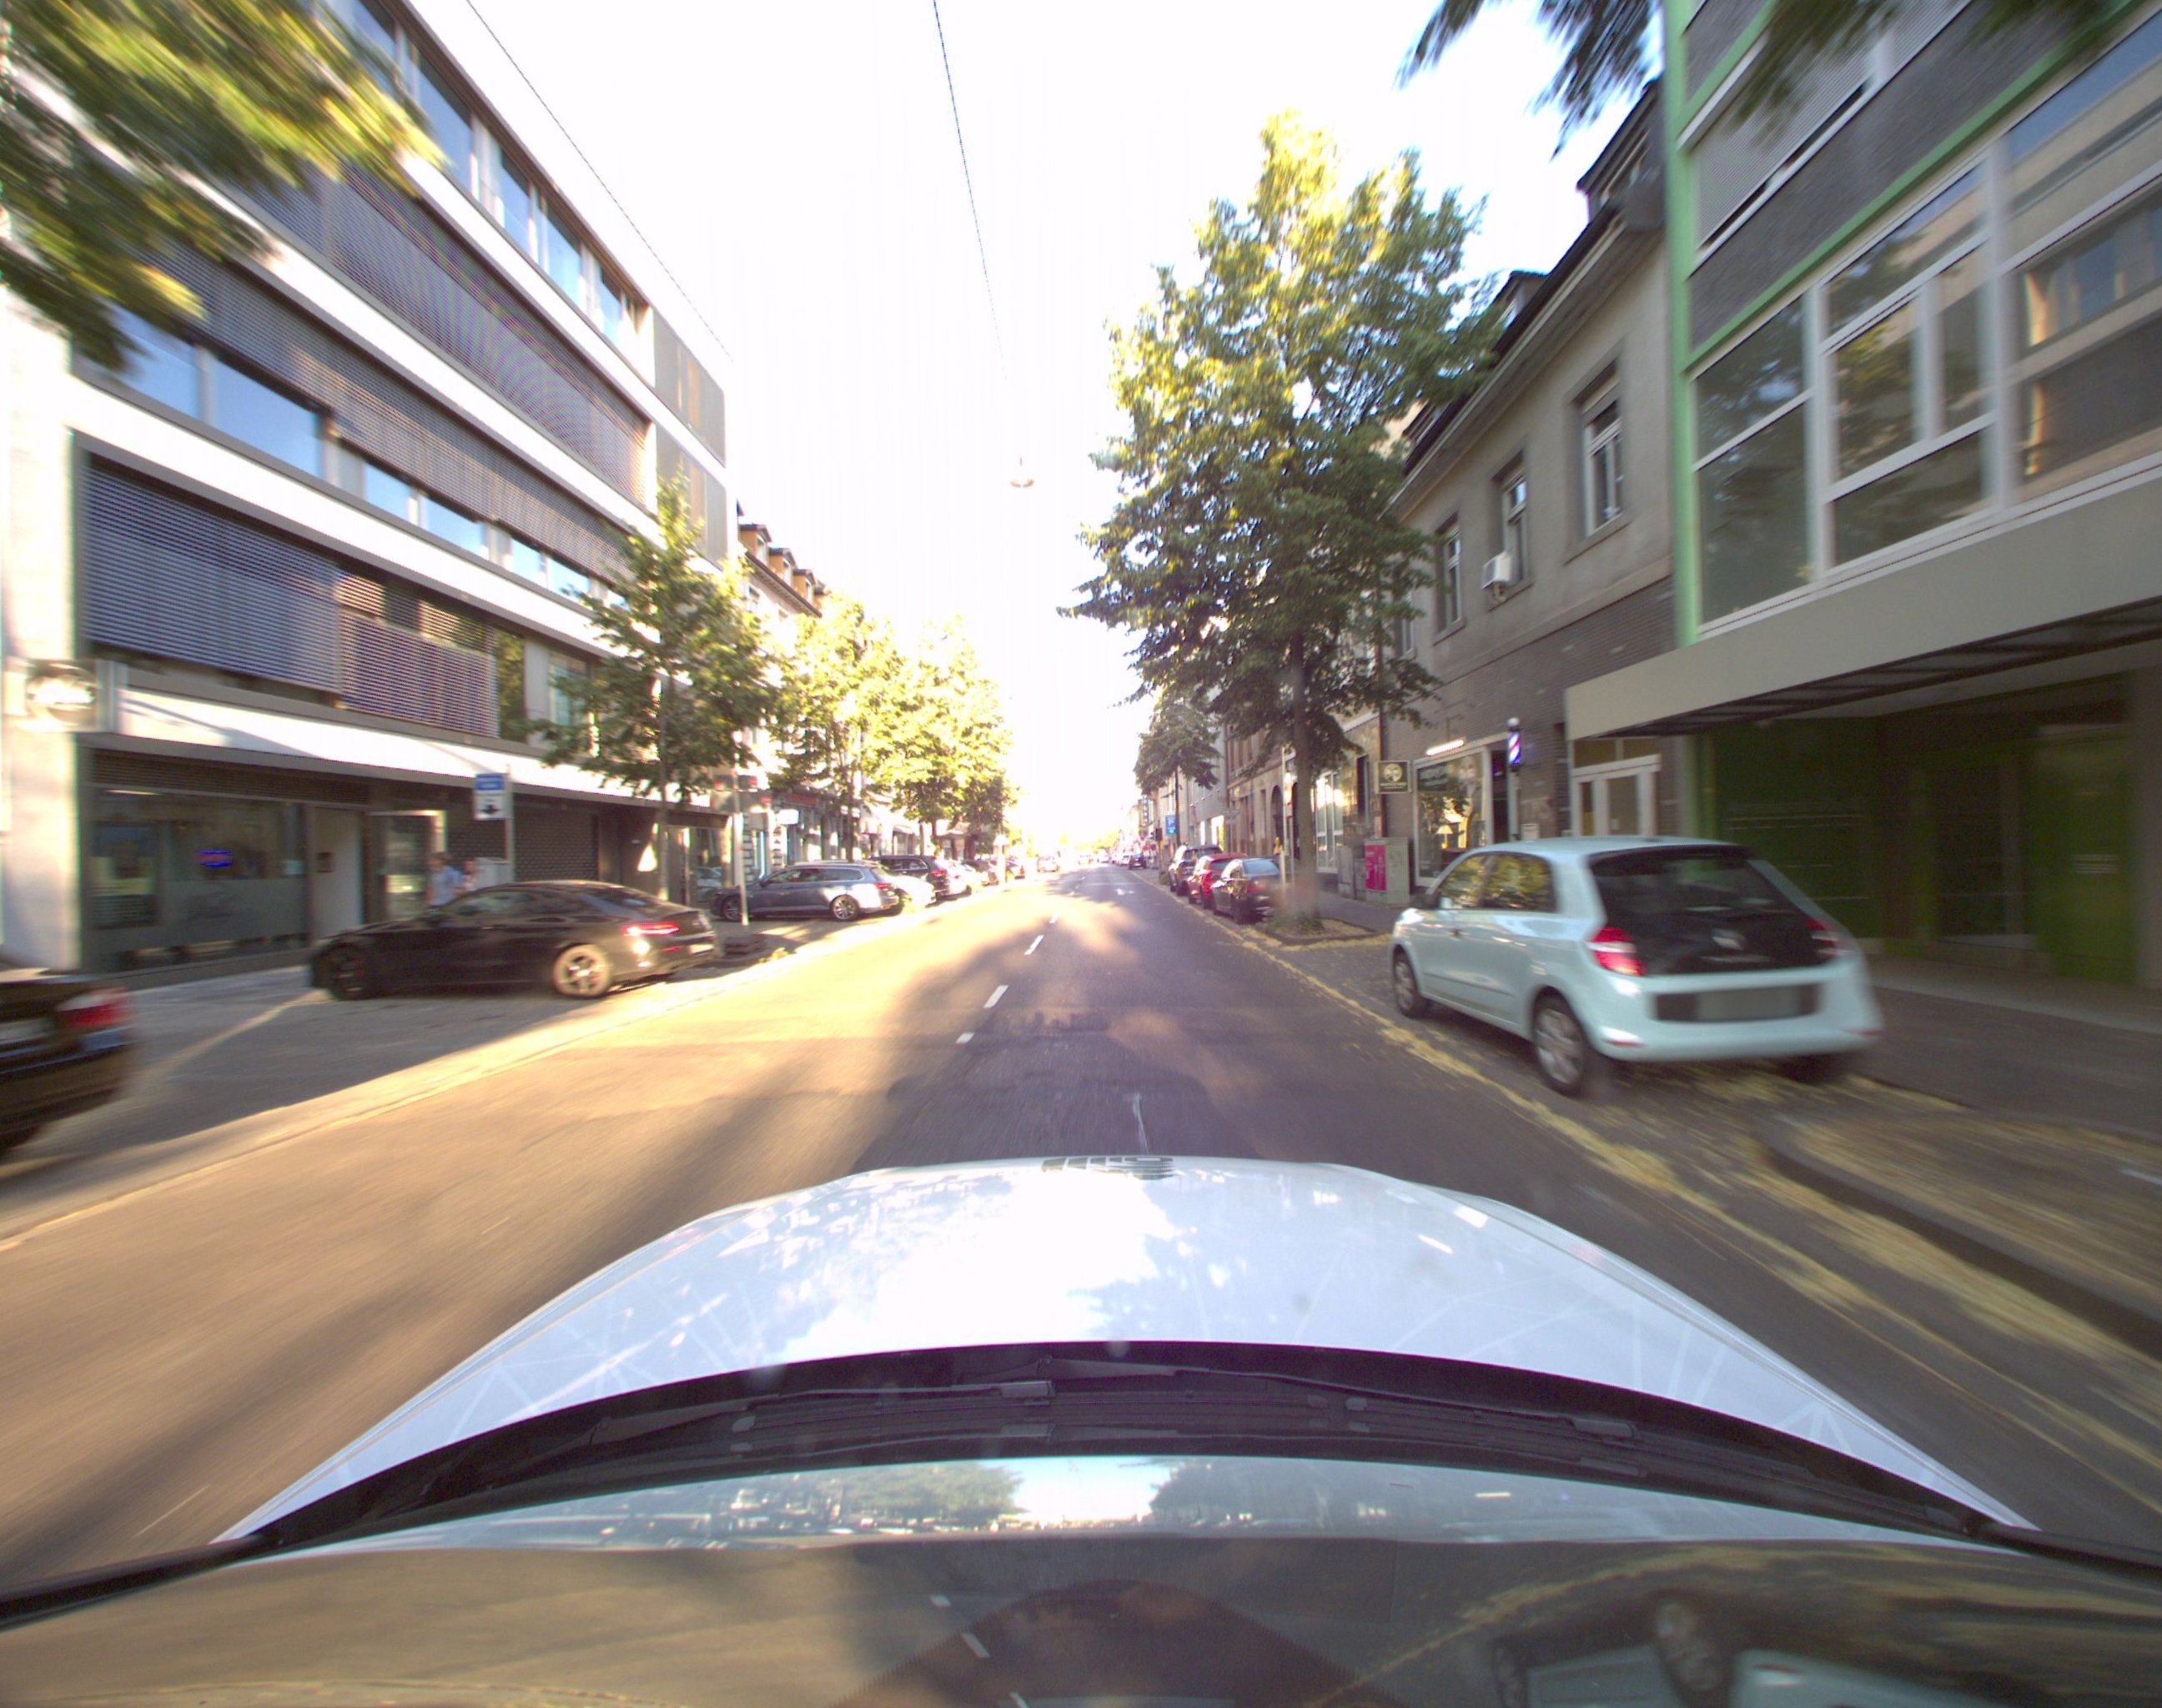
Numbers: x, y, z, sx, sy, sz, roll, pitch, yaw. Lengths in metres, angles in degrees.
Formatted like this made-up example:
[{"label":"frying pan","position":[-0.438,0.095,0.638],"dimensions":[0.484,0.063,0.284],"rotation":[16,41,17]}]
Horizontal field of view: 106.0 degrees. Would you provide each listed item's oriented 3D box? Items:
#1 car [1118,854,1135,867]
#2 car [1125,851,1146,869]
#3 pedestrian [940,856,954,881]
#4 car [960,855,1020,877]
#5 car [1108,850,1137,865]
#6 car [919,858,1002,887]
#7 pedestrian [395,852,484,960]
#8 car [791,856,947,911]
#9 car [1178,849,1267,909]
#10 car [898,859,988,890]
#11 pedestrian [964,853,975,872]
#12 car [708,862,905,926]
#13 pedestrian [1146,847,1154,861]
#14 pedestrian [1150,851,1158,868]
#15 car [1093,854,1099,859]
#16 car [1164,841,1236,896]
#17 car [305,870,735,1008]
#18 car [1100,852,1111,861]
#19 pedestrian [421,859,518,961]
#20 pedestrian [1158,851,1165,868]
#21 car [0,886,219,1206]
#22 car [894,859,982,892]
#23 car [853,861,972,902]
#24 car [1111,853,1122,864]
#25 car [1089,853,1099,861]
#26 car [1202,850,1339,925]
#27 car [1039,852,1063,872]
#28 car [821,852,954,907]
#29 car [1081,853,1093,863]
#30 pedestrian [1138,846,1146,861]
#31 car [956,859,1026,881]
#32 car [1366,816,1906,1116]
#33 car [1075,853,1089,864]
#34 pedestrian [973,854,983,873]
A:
[{"label":"car","position":[5.371,0.790,96.590],"dimensions":[1.754,1.536,4.819],"rotation":[0,-1,-1]},{"label":"car","position":[5.177,0.553,77.916],"dimensions":[1.752,1.536,4.002],"rotation":[-5,0,2]},{"label":"pedestrian","position":[-9.240,1.009,56.108],"dimensions":[0.769,1.721,0.876],"rotation":[-1,-2,1]},{"label":"car","position":[-6.495,0.845,58.592],"dimensions":[4.058,1.536,1.884],"rotation":[-1,0,1]},{"label":"car","position":[5.274,0.464,104.245],"dimensions":[2.001,1.761,4.433],"rotation":[-2,0,-22]},{"label":"car","position":[-6.267,0.948,42.708],"dimensions":[4.095,1.403,1.883],"rotation":[-1,0,-2]},{"label":"pedestrian","position":[-10.736,0.839,13.663],"dimensions":[0.716,1.749,0.934],"rotation":[1,0,1]},{"label":"car","position":[-6.612,0.912,25.766],"dimensions":[4.392,1.596,1.890],"rotation":[-1,0,0]},{"label":"car","position":[4.001,0.661,23.578],"dimensions":[1.725,1.487,3.898],"rotation":[-4,0,-1]},{"label":"car","position":[-6.810,1.021,40.545],"dimensions":[4.081,1.403,1.844],"rotation":[-2,0,2]},{"label":"pedestrian","position":[-9.437,0.753,69.123],"dimensions":[0.769,1.608,0.876],"rotation":[-1,-2,1]},{"label":"car","position":[-7.081,1.007,21.377],"dimensions":[4.537,1.484,1.743],"rotation":[-1,0,-3]},{"label":"pedestrian","position":[8.461,-0.012,100.206],"dimensions":[0.770,1.711,1.042],"rotation":[-3,0,0]},{"label":"pedestrian","position":[7.018,0.535,78.134],"dimensions":[0.602,1.599,0.774],"rotation":[-1,0,0]},{"label":"car","position":[4.692,0.698,253.628],"dimensions":[1.773,1.547,4.000],"rotation":[-1,0,0]},{"label":"car","position":[4.317,0.487,30.242],"dimensions":[2.031,1.737,4.713],"rotation":[-4,0,2]},{"label":"car","position":[-6.961,1.020,10.426],"dimensions":[4.259,1.484,1.745],"rotation":[-1,0,1]},{"label":"car","position":[4.291,0.529,144.951],"dimensions":[1.890,1.581,4.000],"rotation":[0,0,1]},{"label":"pedestrian","position":[-10.049,0.890,13.431],"dimensions":[0.716,1.602,1.095],"rotation":[1,0,1]},{"label":"pedestrian","position":[7.727,0.544,78.185],"dimensions":[0.602,1.599,0.774],"rotation":[-1,0,0]},{"label":"car","position":[-7.292,0.983,3.940],"dimensions":[4.262,1.484,1.743],"rotation":[-1,0,-2]},{"label":"car","position":[-6.567,0.958,37.687],"dimensions":[3.728,1.444,1.805],"rotation":[-1,0,-2]},{"label":"car","position":[-6.349,1.017,30.953],"dimensions":[4.137,1.421,1.766],"rotation":[-1,0,-2]},{"label":"car","position":[5.676,0.722,129.969],"dimensions":[1.724,1.651,4.285],"rotation":[0,0,1]},{"label":"car","position":[2.506,0.637,158.188],"dimensions":[1.890,1.581,3.852],"rotation":[-1,0,1]},{"label":"car","position":[4.171,0.680,18.703],"dimensions":[1.946,1.390,4.422],"rotation":[-4,0,-1]},{"label":"car","position":[-2.824,0.701,75.606],"dimensions":[1.859,1.692,4.452],"rotation":[-2,1,-6]},{"label":"car","position":[-6.597,0.853,28.106],"dimensions":[4.137,1.773,1.889],"rotation":[-1,0,-2]},{"label":"car","position":[1.022,0.714,138.698],"dimensions":[1.890,1.649,4.104],"rotation":[-1,0,1]},{"label":"pedestrian","position":[7.458,-0.066,100.066],"dimensions":[0.770,1.827,1.011],"rotation":[-3,0,0]},{"label":"car","position":[-6.057,1.065,55.321],"dimensions":[4.556,1.407,1.821],"rotation":[-1,0,-1]},{"label":"car","position":[3.669,0.610,6.248],"dimensions":[1.685,1.543,3.553],"rotation":[-4,0,1]},{"label":"car","position":[0.168,0.677,121.455],"dimensions":[1.890,1.649,4.104],"rotation":[-1,0,1]},{"label":"pedestrian","position":[-8.753,0.809,69.201],"dimensions":[0.731,1.528,0.876],"rotation":[-1,-2,1]}]
